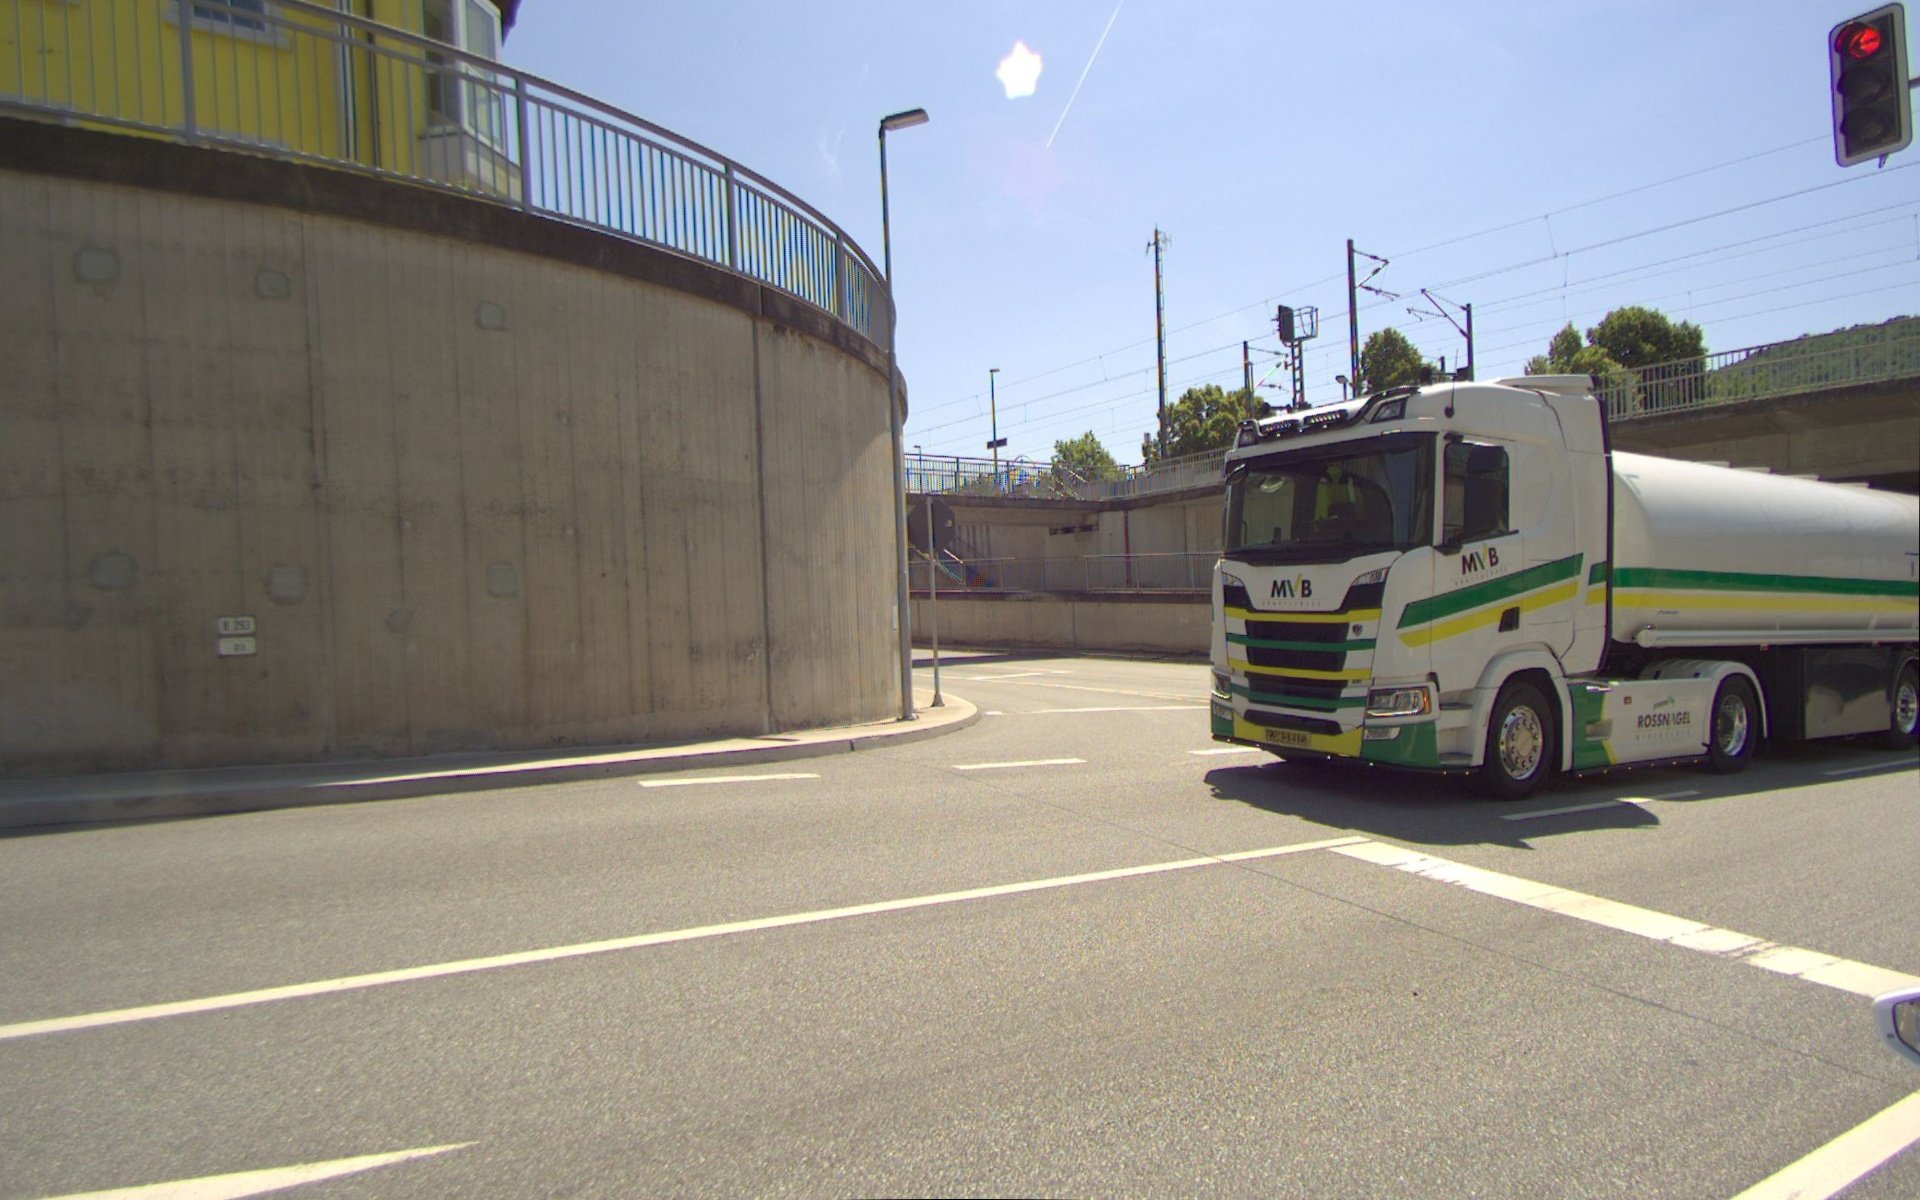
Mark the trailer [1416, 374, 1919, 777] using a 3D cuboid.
[{"bbox_3d":[10.190,-0.151,12.807,9.768,3.712,2.678,1,0,-29],"label":"trailer"}]

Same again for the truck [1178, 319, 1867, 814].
[{"bbox_3d":[6.001,-0.197,10.418,7.275,3.712,2.679,1,0,-28],"label":"truck"}]
